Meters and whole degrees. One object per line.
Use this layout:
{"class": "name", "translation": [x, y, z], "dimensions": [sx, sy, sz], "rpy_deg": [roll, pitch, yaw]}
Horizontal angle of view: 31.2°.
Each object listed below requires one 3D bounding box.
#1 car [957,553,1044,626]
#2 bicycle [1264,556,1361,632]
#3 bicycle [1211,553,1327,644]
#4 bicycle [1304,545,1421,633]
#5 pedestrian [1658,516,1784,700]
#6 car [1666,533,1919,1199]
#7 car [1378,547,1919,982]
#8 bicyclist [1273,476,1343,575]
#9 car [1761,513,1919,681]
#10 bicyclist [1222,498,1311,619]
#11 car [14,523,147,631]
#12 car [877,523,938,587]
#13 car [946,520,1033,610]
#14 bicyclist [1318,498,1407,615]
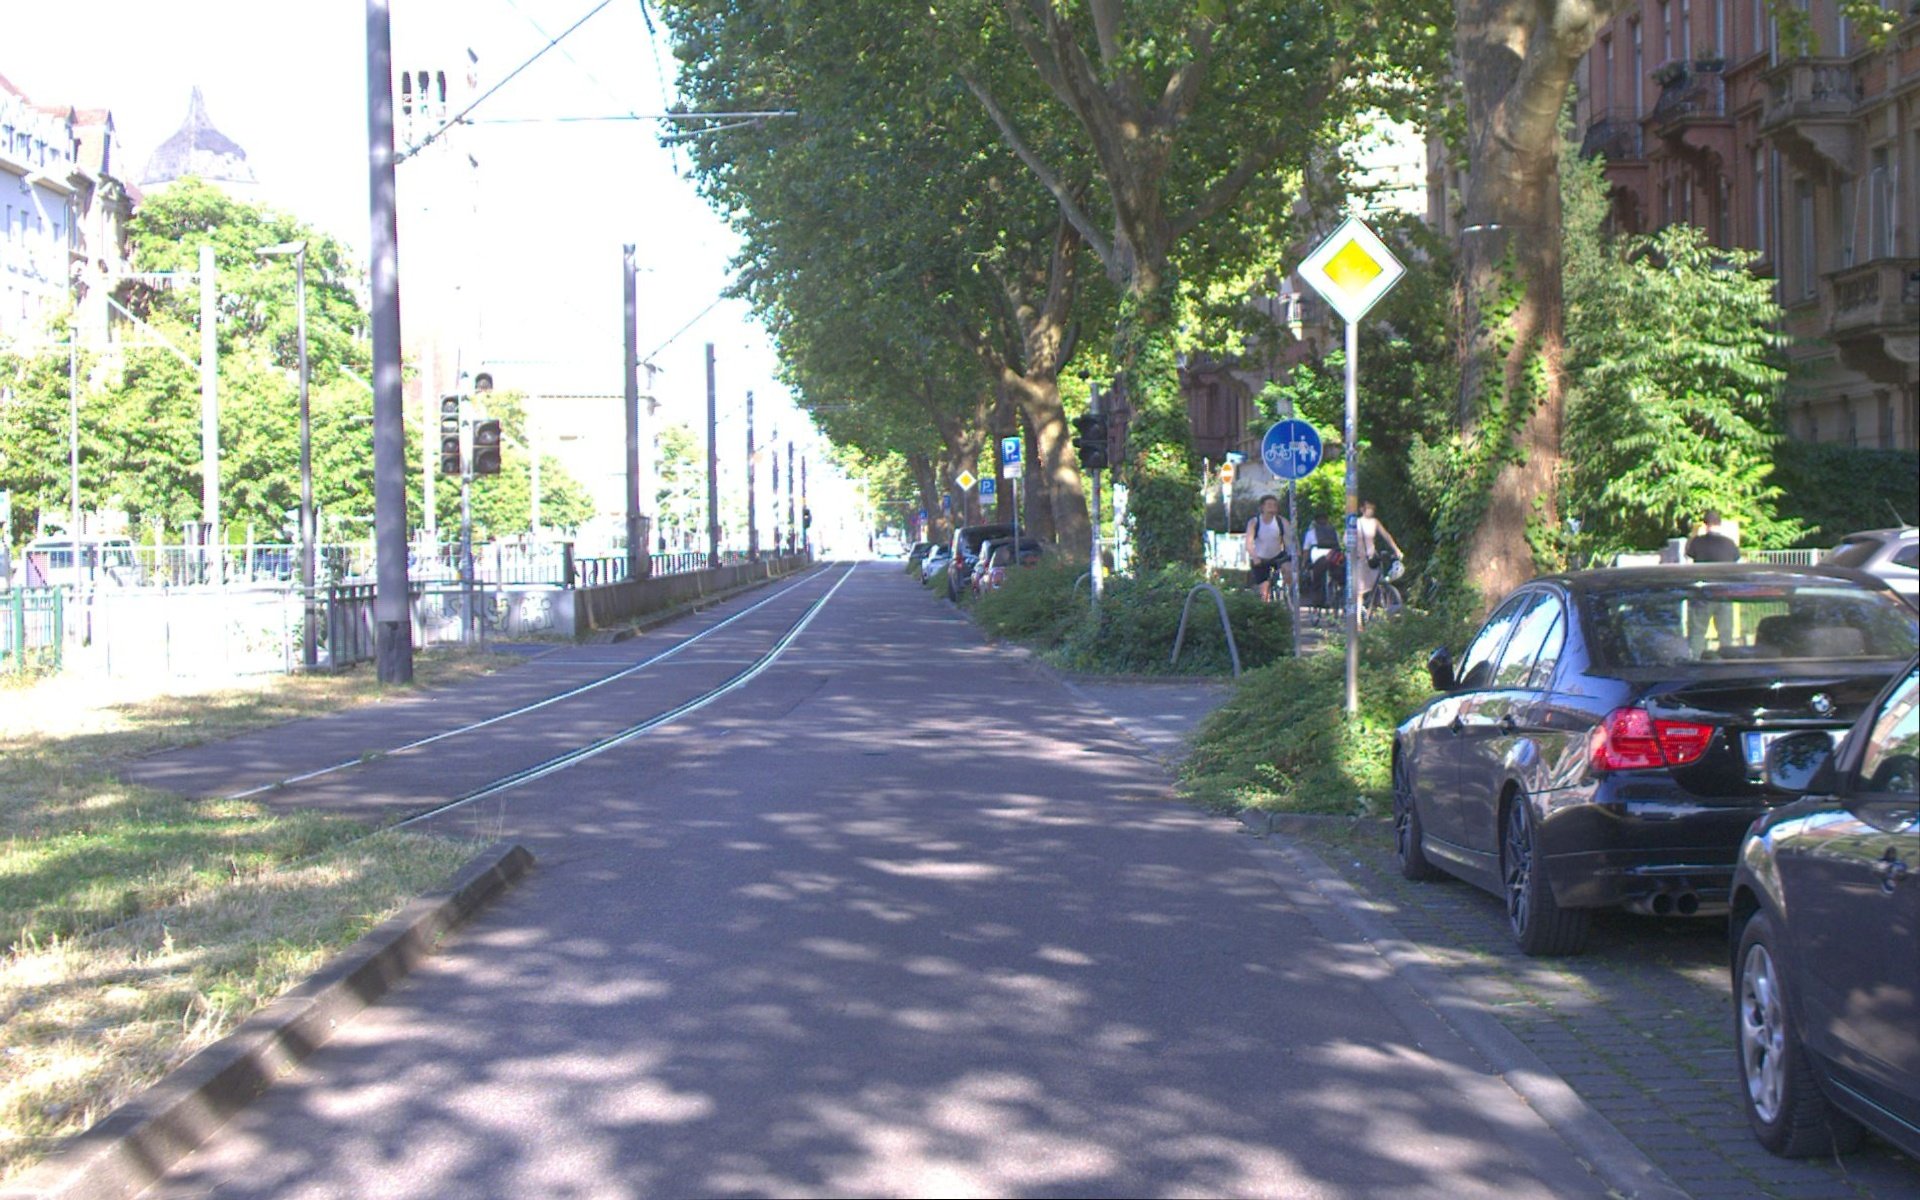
{"class": "car", "translation": [0.866, -0.231, 75.165], "dimensions": [1.794, 1.505, 4.000], "rpy_deg": [1, 0, -1]}
{"class": "bicycle", "translation": [5.195, -0.097, 50.800], "dimensions": [0.813, 0.953, 2.318], "rpy_deg": [-2, 4, -10]}
{"class": "bicycle", "translation": [3.777, -0.035, 42.229], "dimensions": [0.813, 0.953, 2.318], "rpy_deg": [-2, 4, -10]}
{"class": "bicycle", "translation": [5.084, -0.159, 43.568], "dimensions": [0.813, 0.953, 2.318], "rpy_deg": [-2, 4, -10]}
{"class": "pedestrian", "translation": [7.363, 0.062, 33.286], "dimensions": [0.813, 1.683, 1.081], "rpy_deg": [-2, 4, -10]}
{"class": "car", "translation": [2.720, 0.621, 6.958], "dimensions": [1.643, 1.506, 4.183], "rpy_deg": [-2, 1, -1]}
{"class": "car", "translation": [2.768, 0.518, 13.572], "dimensions": [1.643, 1.368, 4.183], "rpy_deg": [-2, 1, -1]}
{"class": "bicyclist", "translation": [5.133, -1.112, 50.757], "dimensions": [0.813, 1.400, 0.825], "rpy_deg": [-2, 4, -10]}
{"class": "car", "translation": [9.411, -0.084, 30.657], "dimensions": [3.986, 1.415, 2.000], "rpy_deg": [-1, 1, -4]}
{"class": "bicyclist", "translation": [3.760, -0.520, 42.233], "dimensions": [0.813, 1.400, 1.081], "rpy_deg": [-2, 4, -10]}
{"class": "car", "translation": [-18.695, -0.517, 73.249], "dimensions": [1.993, 2.006, 4.001], "rpy_deg": [-2, 4, -4]}
{"class": "car", "translation": [-1.759, -1.503, 116.487], "dimensions": [1.993, 2.100, 4.000], "rpy_deg": [1, 0, -1]}
{"class": "car", "translation": [0.701, -0.836, 83.976], "dimensions": [1.993, 2.100, 4.000], "rpy_deg": [1, 0, -1]}
{"class": "bicyclist", "translation": [5.083, -0.558, 43.504], "dimensions": [0.813, 1.400, 1.081], "rpy_deg": [-2, 4, -10]}
